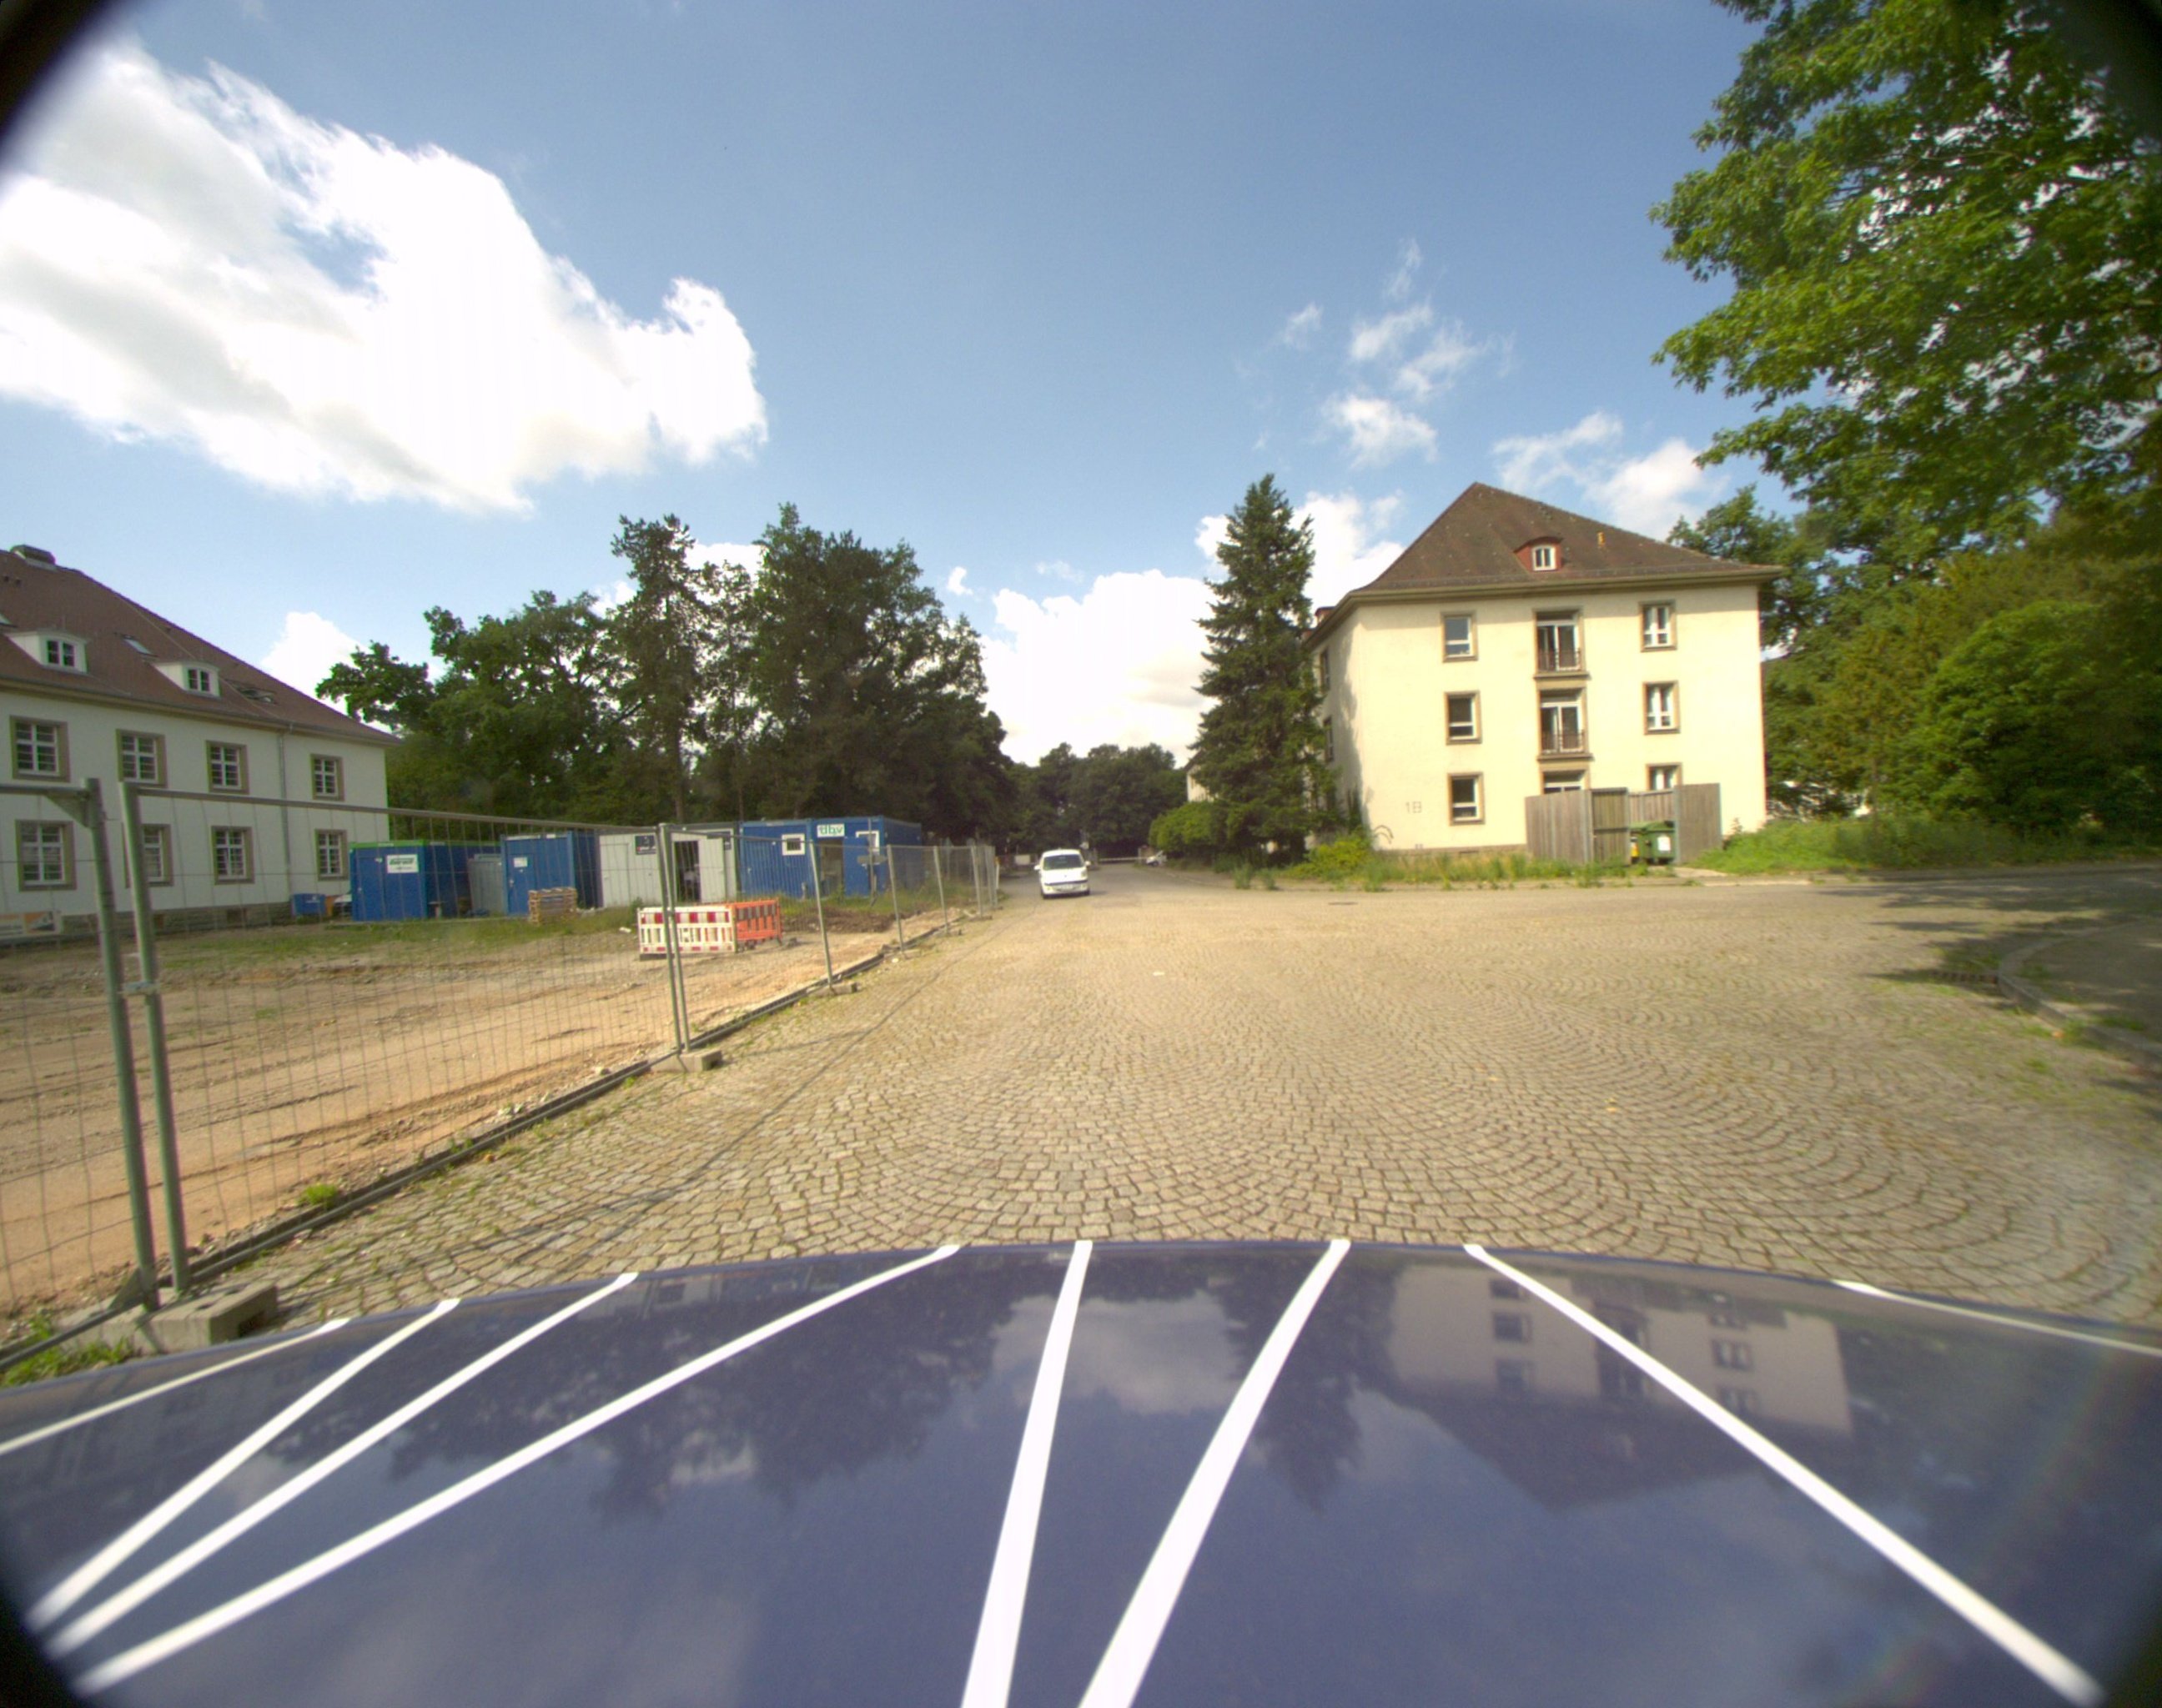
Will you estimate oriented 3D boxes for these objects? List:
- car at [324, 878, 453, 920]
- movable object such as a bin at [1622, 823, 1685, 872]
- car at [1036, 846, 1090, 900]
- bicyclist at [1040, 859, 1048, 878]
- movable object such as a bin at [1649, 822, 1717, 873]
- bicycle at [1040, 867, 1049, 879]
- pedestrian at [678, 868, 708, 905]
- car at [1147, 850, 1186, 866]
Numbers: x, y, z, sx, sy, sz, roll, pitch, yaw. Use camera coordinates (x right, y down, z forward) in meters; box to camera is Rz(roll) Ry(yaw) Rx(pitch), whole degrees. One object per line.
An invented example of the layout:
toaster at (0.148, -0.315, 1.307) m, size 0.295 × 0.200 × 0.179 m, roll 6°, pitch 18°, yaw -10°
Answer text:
car at (-34.414, 2.173, 37.970) m, size 1.884 × 1.718 × 4.708 m, roll -2°, pitch 0°, yaw 3°
movable object such as a bin at (18.854, -0.214, 25.070) m, size 1.172 × 1.522 × 1.153 m, roll -2°, pitch 1°, yaw -1°
car at (-0.682, 0.714, 29.634) m, size 1.839 × 1.857 × 4.830 m, roll -3°, pitch -1°, yaw -1°
bicyclist at (-3.380, 1.339, 70.140) m, size 0.634 × 1.760 × 0.571 m, roll -3°, pitch 1°, yaw -1°
movable object such as a bin at (18.888, -0.195, 23.876) m, size 1.172 × 1.522 × 1.153 m, roll -2°, pitch 1°, yaw -1°
bicycle at (-3.358, 1.735, 70.139) m, size 0.634 × 0.990 × 1.557 m, roll -3°, pitch 0°, yaw 0°
pedestrian at (-13.452, 1.129, 26.347) m, size 0.602 × 1.235 × 0.683 m, roll -3°, pitch 1°, yaw 0°
car at (9.544, 0.427, 84.917) m, size 4.083 × 1.634 × 1.767 m, roll -2°, pitch 1°, yaw 1°
